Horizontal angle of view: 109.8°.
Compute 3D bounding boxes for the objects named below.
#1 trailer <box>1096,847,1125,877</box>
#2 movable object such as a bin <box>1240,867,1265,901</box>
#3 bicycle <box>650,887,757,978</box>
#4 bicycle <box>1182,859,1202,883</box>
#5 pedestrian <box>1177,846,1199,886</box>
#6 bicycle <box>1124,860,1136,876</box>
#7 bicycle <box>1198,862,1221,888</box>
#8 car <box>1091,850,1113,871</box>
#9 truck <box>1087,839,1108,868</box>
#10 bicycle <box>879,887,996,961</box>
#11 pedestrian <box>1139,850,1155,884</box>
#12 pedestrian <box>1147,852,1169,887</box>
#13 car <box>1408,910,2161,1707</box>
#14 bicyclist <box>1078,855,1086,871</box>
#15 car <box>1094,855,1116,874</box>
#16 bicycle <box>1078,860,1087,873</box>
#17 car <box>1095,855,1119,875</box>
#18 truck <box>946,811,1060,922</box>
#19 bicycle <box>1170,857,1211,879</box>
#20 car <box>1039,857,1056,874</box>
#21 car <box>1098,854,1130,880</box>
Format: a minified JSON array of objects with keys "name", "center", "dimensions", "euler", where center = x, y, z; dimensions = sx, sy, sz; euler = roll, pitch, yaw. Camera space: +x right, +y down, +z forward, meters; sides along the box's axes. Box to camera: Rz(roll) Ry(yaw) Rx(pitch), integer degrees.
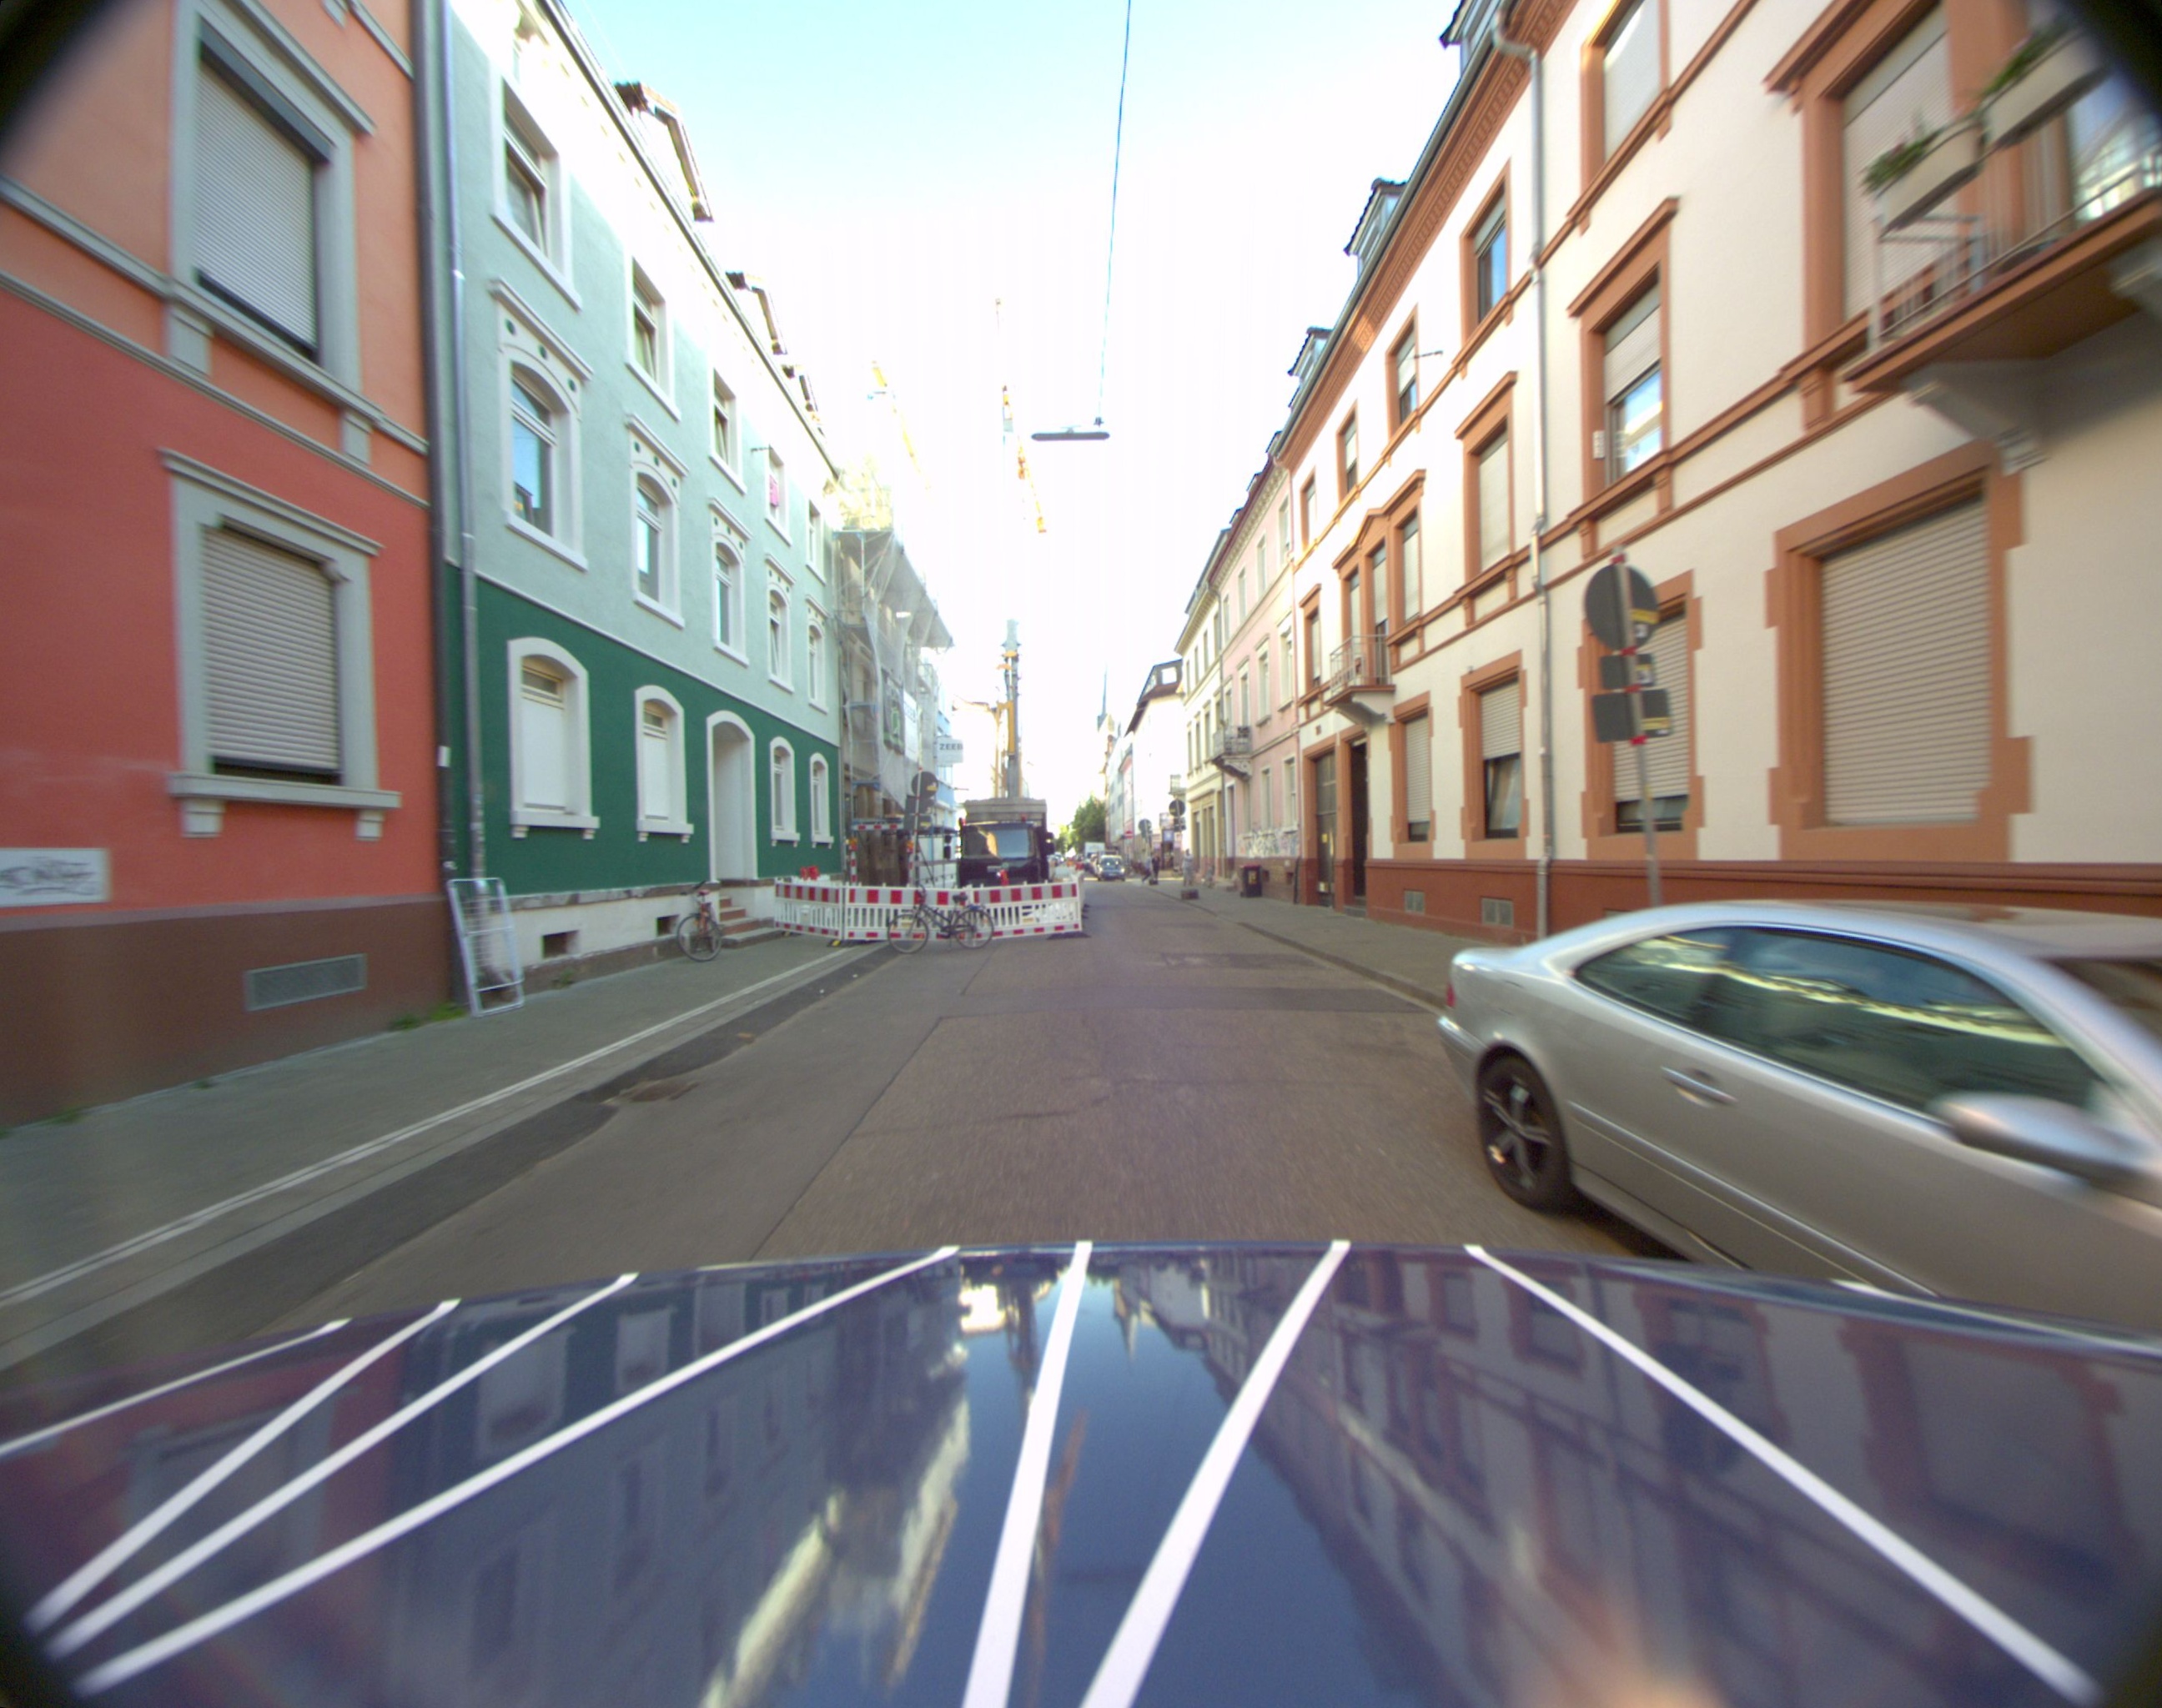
[{"name":"trailer","center":[2.095,0.517,54.969],"dimensions":[1.666,2.049,4.362],"euler":[0,1,-3]},{"name":"movable object such as a bin","center":[5.361,0.934,23.790],"dimensions":[0.607,1.029,0.596],"euler":[-2,1,-2]},{"name":"bicycle","center":[-5.539,1.108,11.279],"dimensions":[0.656,1.122,1.834],"euler":[3,1,-1]},{"name":"bicycle","center":[5.422,0.817,37.175],"dimensions":[0.605,1.016,1.817],"euler":[-5,1,0]},{"name":"pedestrian","center":[4.777,0.550,33.930],"dimensions":[0.695,1.691,0.865],"euler":[-6,-1,-1]},{"name":"bicycle","center":[3.495,1.001,54.206],"dimensions":[0.578,1.132,1.460],"euler":[-2,1,-6]},{"name":"bicycle","center":[5.490,0.878,32.572],"dimensions":[0.624,1.016,1.818],"euler":[-2,0,0]},{"name":"car","center":[1.951,0.577,70.906],"dimensions":[1.807,1.834,4.243],"euler":[0,1,-1]},{"name":"truck","center":[1.809,-0.106,85.231],"dimensions":[2.296,3.165,7.043],"euler":[0,1,0]},{"name":"bicycle","center":[-2.408,1.167,12.913],"dimensions":[1.855,1.104,0.643],"euler":[-2,1,-7]},{"name":"pedestrian","center":[3.721,0.713,42.884],"dimensions":[0.771,1.839,0.780],"euler":[-2,1,-4]},{"name":"pedestrian","center":[4.105,0.819,40.644],"dimensions":[0.829,1.782,0.988],"euler":[1,1,-18]},{"name":"car","center":[2.683,1.031,1.898],"dimensions":[1.715,1.375,4.504],"euler":[1,1,-1]},{"name":"bicyclist","center":[0.091,0.765,65.150],"dimensions":[0.710,1.427,0.790],"euler":[-1,1,1]},{"name":"car","center":[2.029,0.856,65.541],"dimensions":[1.678,1.488,4.529],"euler":[0,1,-1]},{"name":"bicycle","center":[0.107,1.060,65.242],"dimensions":[0.710,1.105,1.935],"euler":[-1,0,1]},{"name":"car","center":[2.038,0.864,60.666],"dimensions":[1.681,1.546,3.817],"euler":[0,1,-1]},{"name":"truck","center":[-2.132,0.283,23.489],"dimensions":[2.668,2.798,7.391],"euler":[-2,1,0]},{"name":"bicycle","center":[7.092,0.879,49.392],"dimensions":[2.482,1.351,0.928],"euler":[-1,1,0]},{"name":"car","center":[-3.624,1.226,82.566],"dimensions":[1.713,1.721,4.407],"euler":[0,1,-1]},{"name":"car","center":[2.065,0.800,48.764],"dimensions":[1.727,1.596,4.165],"euler":[0,0,-2]}]
